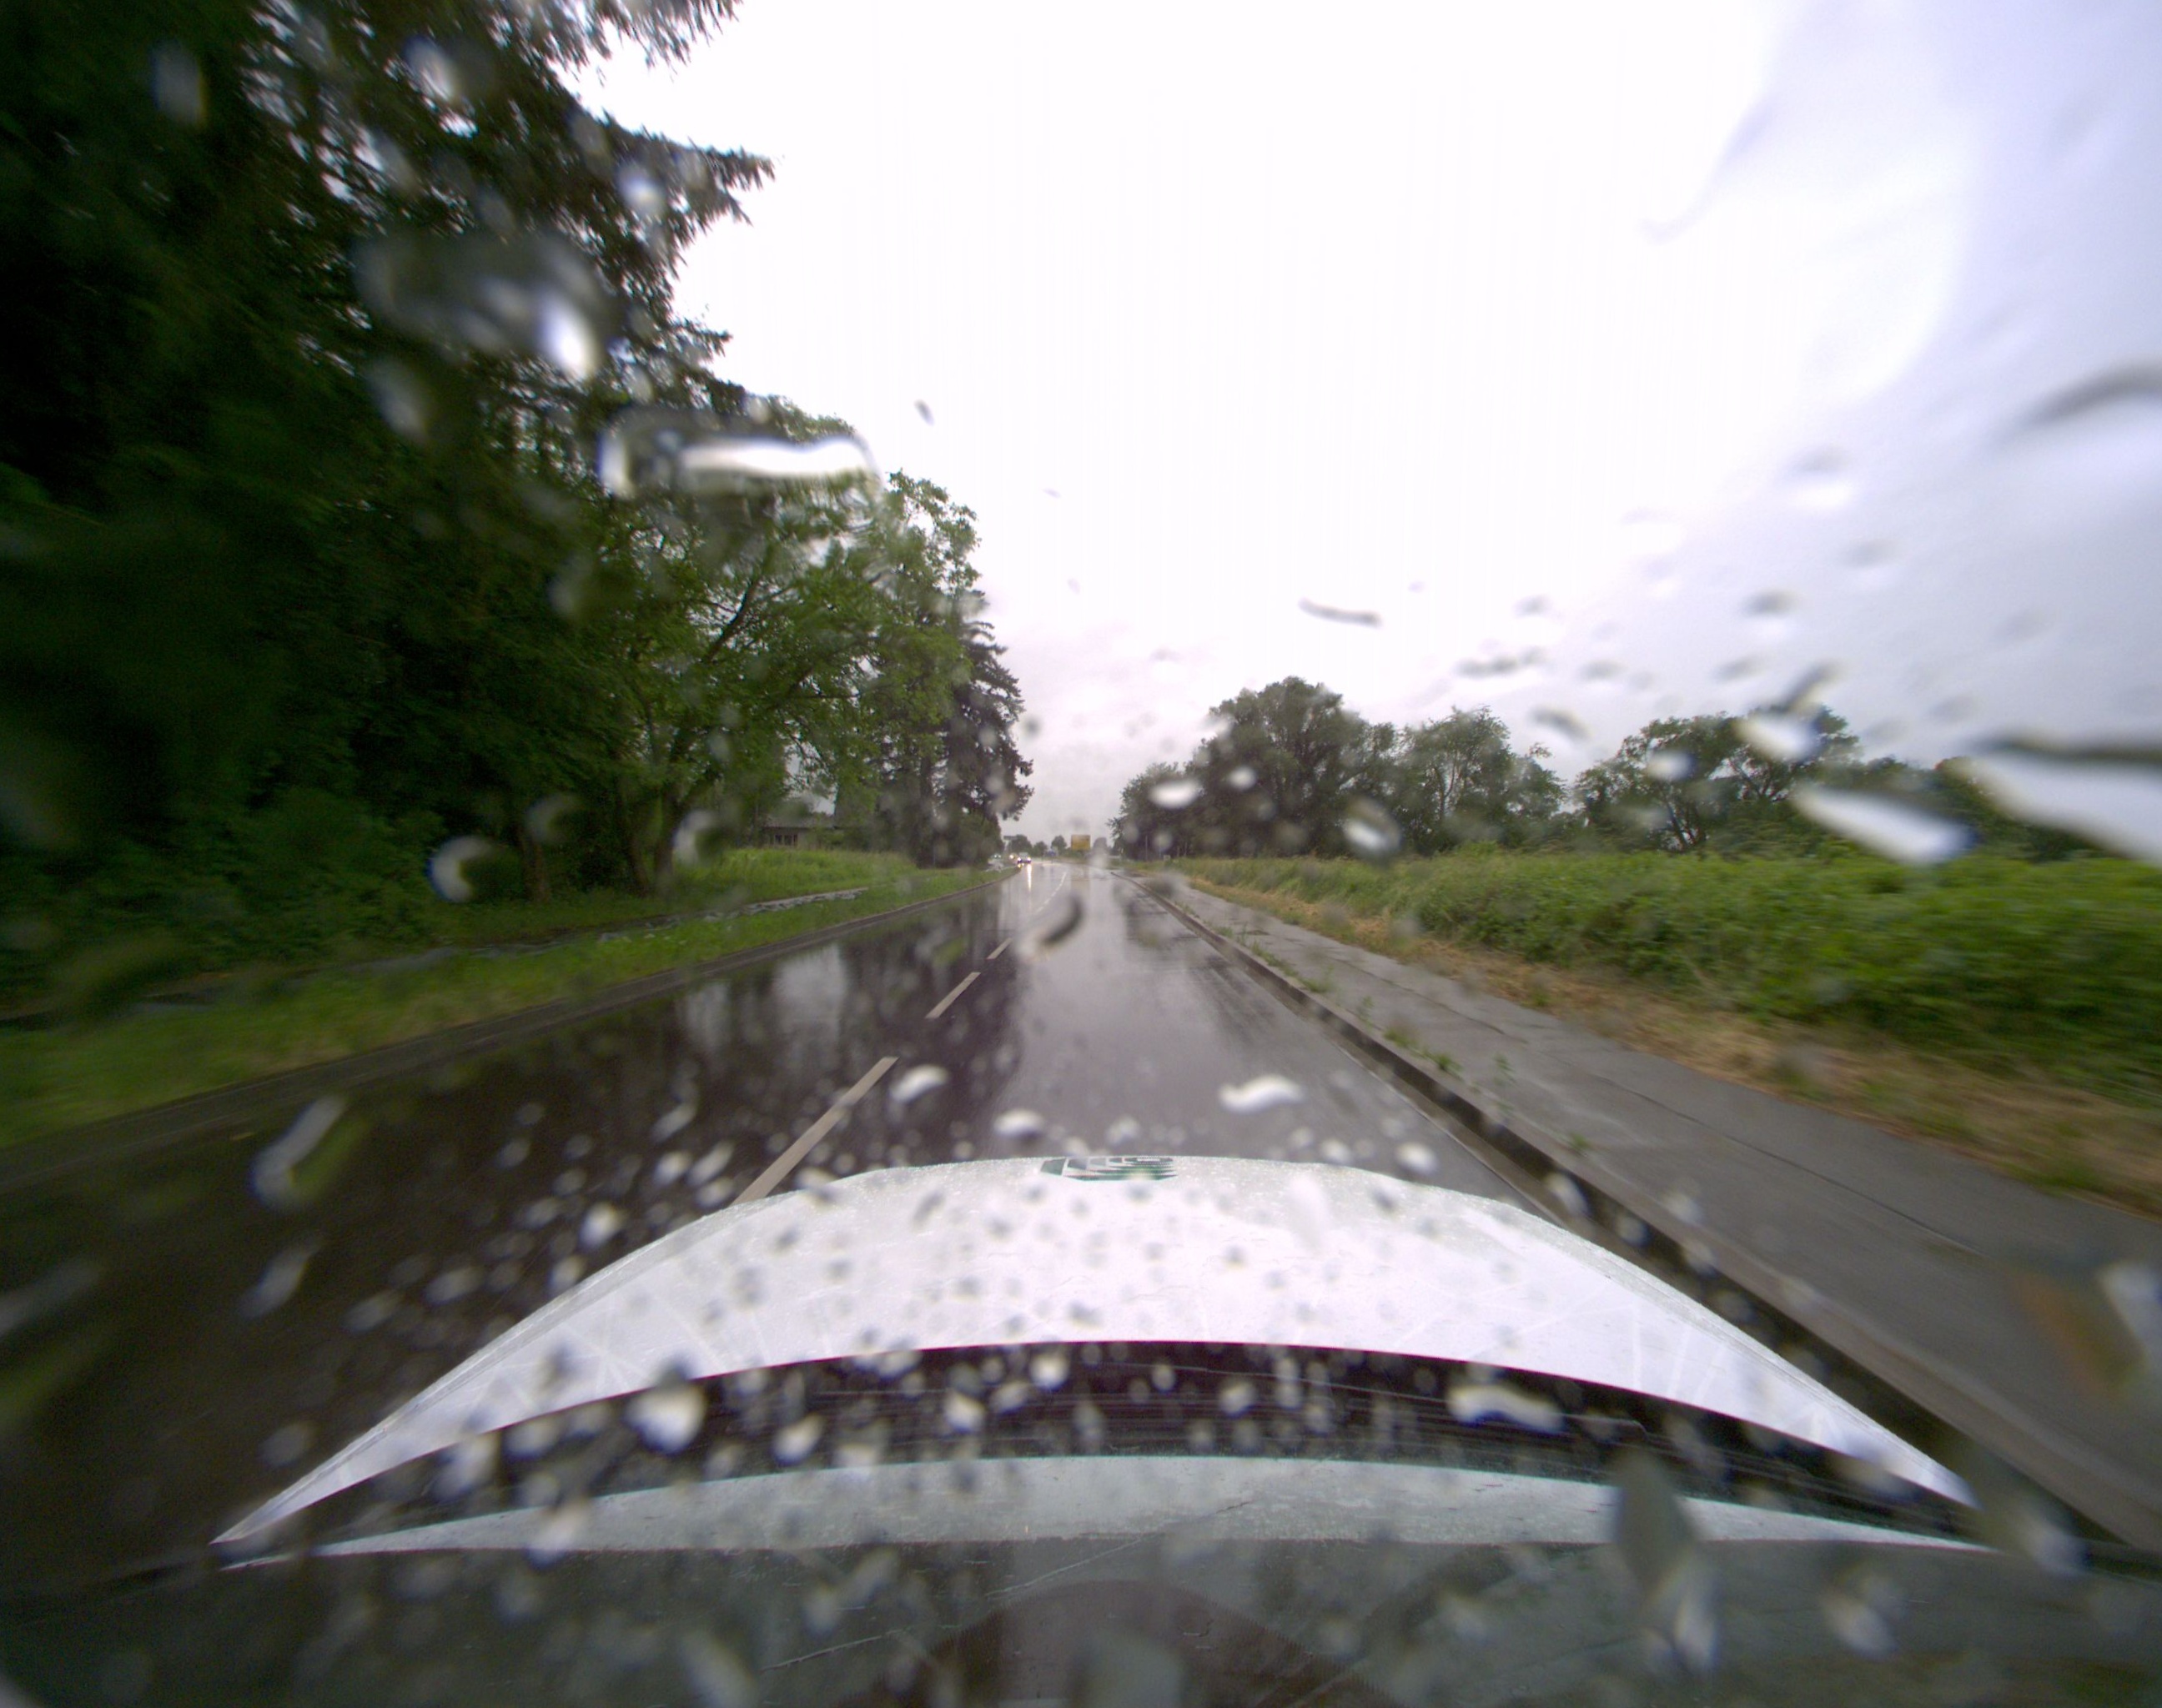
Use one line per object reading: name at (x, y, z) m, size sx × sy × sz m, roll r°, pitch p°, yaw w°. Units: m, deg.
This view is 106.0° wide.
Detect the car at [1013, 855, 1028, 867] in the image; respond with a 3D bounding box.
car at (-8.385, 0.940, 112.448) m, size 1.760 × 1.552 × 3.987 m, roll 1°, pitch 0°, yaw -9°
